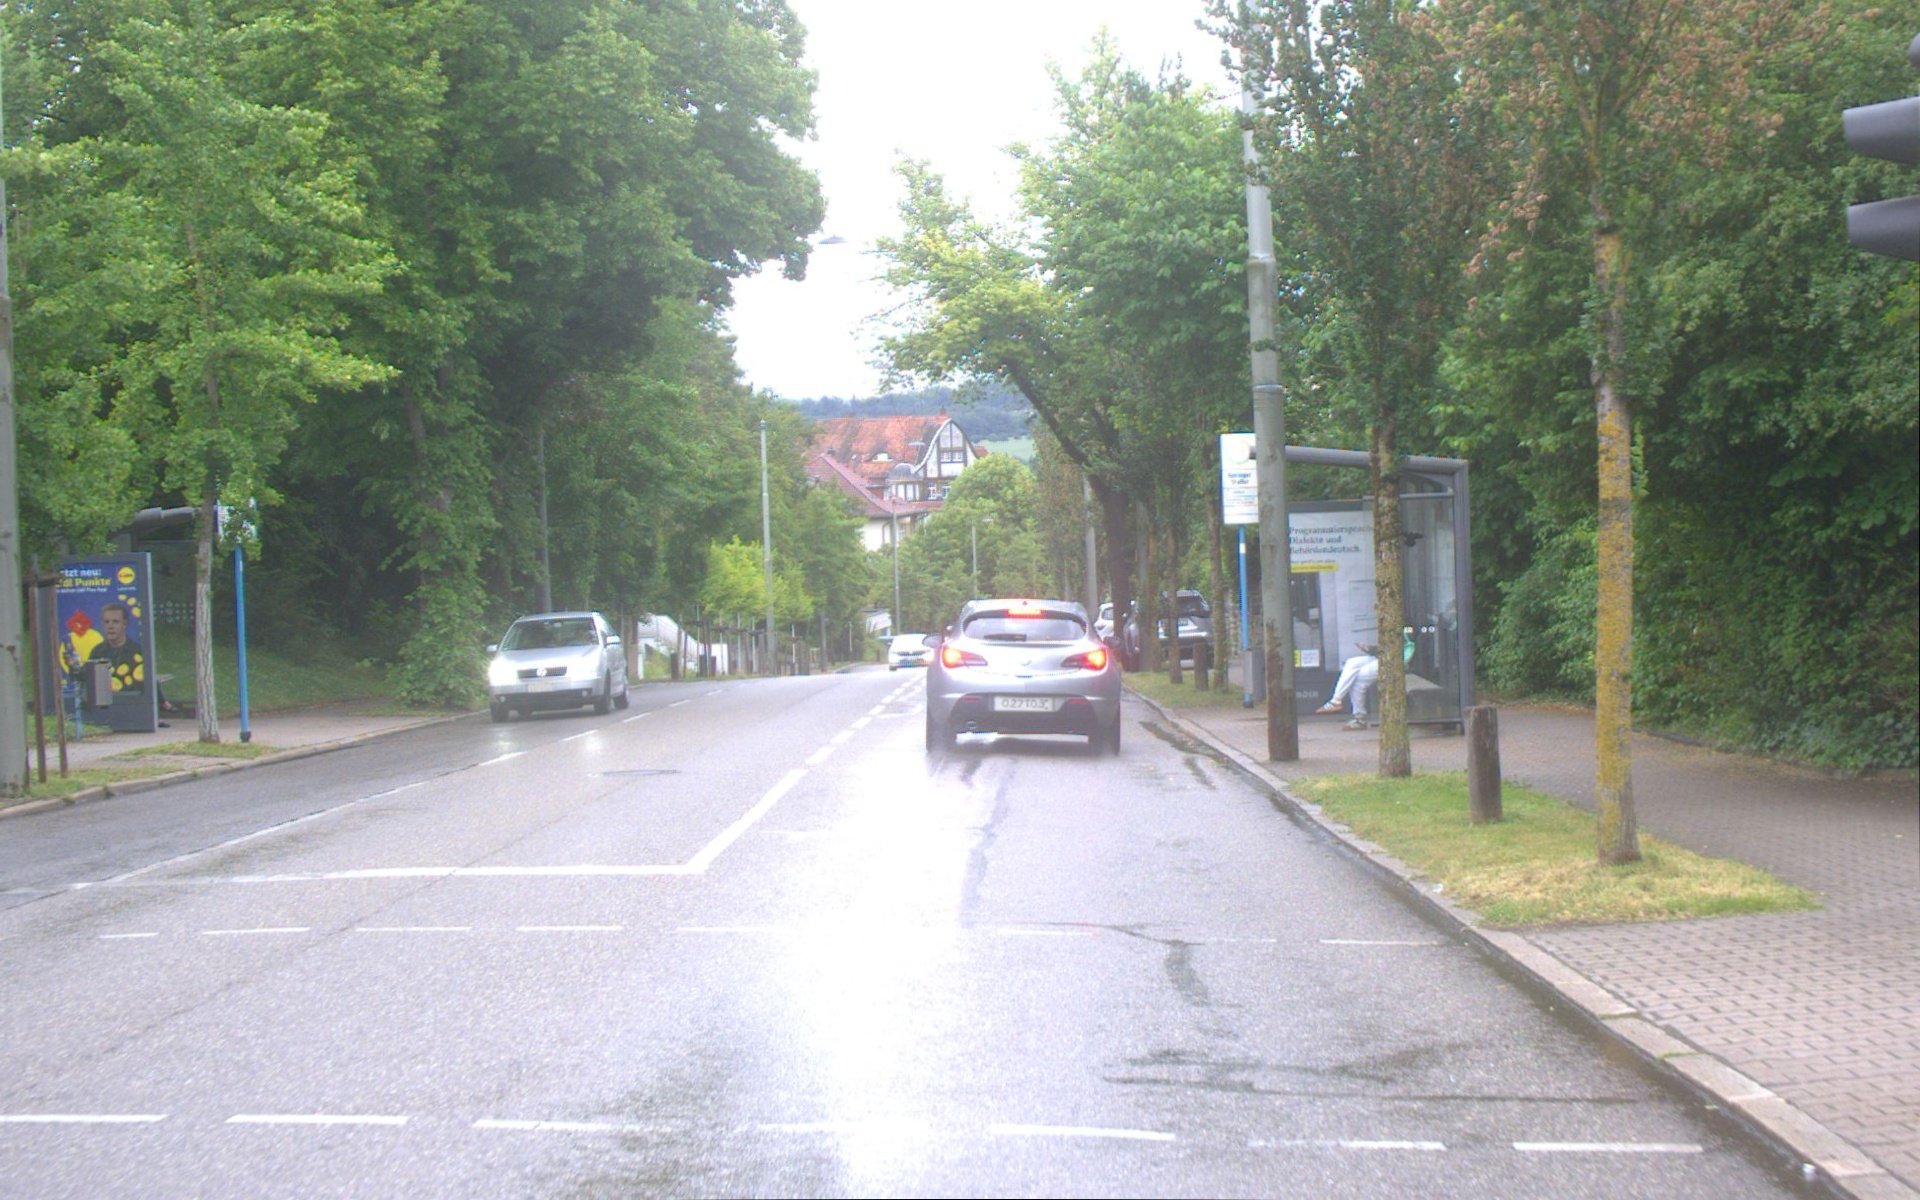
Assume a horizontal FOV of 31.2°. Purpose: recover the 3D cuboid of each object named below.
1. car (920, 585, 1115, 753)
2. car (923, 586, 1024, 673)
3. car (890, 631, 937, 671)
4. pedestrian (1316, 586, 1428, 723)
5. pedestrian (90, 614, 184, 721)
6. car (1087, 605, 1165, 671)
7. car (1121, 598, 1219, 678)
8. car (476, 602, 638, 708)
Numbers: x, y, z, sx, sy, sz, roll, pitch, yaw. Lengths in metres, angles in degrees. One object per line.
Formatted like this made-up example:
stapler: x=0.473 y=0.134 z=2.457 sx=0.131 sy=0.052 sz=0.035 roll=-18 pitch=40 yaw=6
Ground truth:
car: x=0.536 y=0.618 z=33.393 sx=1.754 sy=1.459 sz=4.000 roll=1 pitch=1 yaw=0
car: x=0.278 y=0.565 z=62.624 sx=1.754 sy=1.459 sz=3.999 roll=1 pitch=-2 yaw=1
car: x=-1.828 y=2.007 z=136.982 sx=1.721 sy=1.459 sz=4.000 roll=2 pitch=0 yaw=1
pedestrian: x=4.236 y=0.555 z=35.291 sx=1.074 sy=1.351 sz=0.918 roll=-2 pitch=0 yaw=8
pedestrian: x=-11.116 y=0.903 z=46.475 sx=0.938 sy=1.399 sz=0.918 roll=2 pitch=0 yaw=8
car: x=4.008 y=0.899 z=83.291 sx=1.721 sy=1.459 sz=4.000 roll=-2 pitch=0 yaw=1
car: x=4.127 y=0.728 z=68.126 sx=1.721 sy=1.459 sz=4.000 roll=-2 pitch=0 yaw=1
car: x=-5.622 y=0.740 z=48.363 sx=1.721 sy=1.394 sz=4.000 roll=1 pitch=0 yaw=1
